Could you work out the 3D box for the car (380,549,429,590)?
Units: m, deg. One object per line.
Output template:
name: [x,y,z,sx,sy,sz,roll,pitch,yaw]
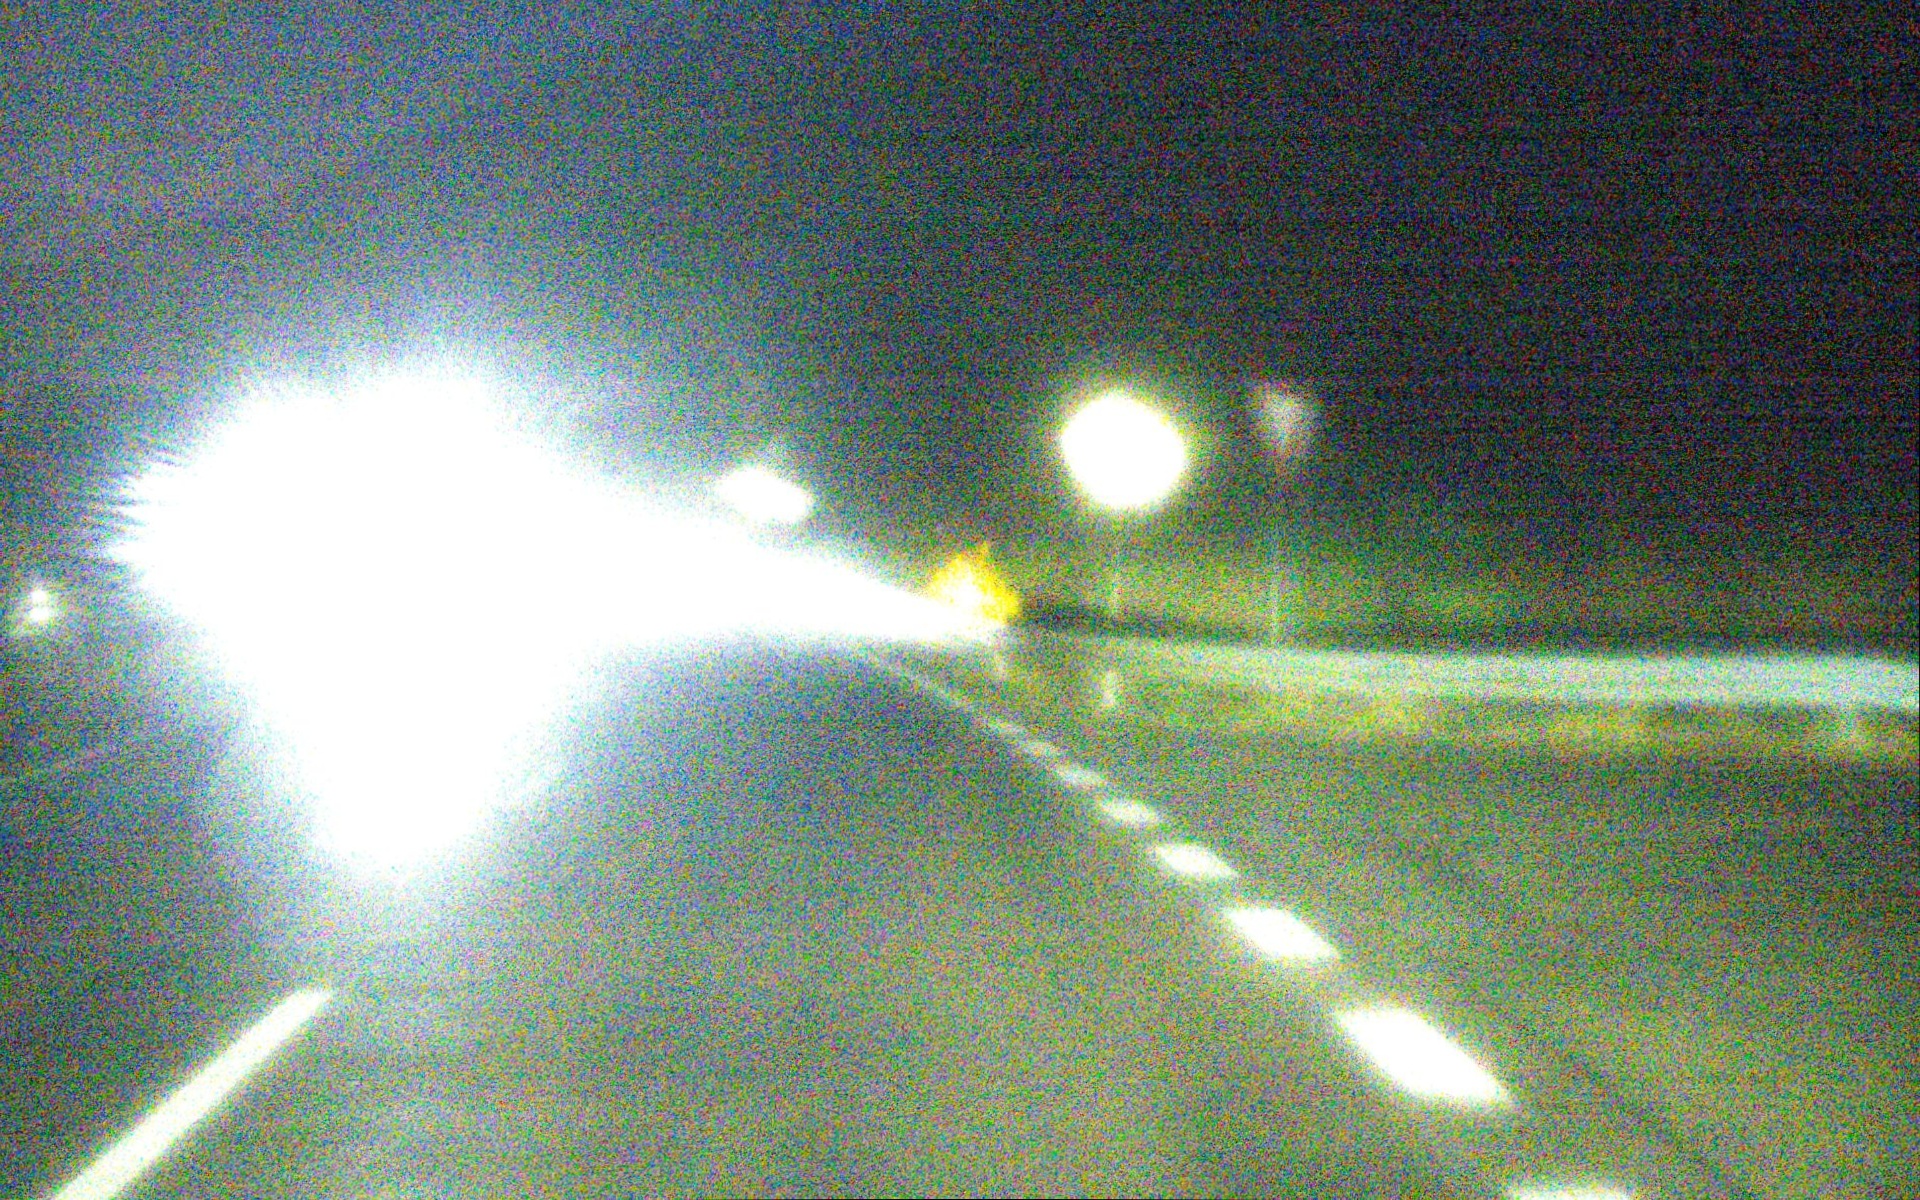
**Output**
car: [-20.529,-1.148,127.004,1.701,1.501,3.685,0,1,-11]
